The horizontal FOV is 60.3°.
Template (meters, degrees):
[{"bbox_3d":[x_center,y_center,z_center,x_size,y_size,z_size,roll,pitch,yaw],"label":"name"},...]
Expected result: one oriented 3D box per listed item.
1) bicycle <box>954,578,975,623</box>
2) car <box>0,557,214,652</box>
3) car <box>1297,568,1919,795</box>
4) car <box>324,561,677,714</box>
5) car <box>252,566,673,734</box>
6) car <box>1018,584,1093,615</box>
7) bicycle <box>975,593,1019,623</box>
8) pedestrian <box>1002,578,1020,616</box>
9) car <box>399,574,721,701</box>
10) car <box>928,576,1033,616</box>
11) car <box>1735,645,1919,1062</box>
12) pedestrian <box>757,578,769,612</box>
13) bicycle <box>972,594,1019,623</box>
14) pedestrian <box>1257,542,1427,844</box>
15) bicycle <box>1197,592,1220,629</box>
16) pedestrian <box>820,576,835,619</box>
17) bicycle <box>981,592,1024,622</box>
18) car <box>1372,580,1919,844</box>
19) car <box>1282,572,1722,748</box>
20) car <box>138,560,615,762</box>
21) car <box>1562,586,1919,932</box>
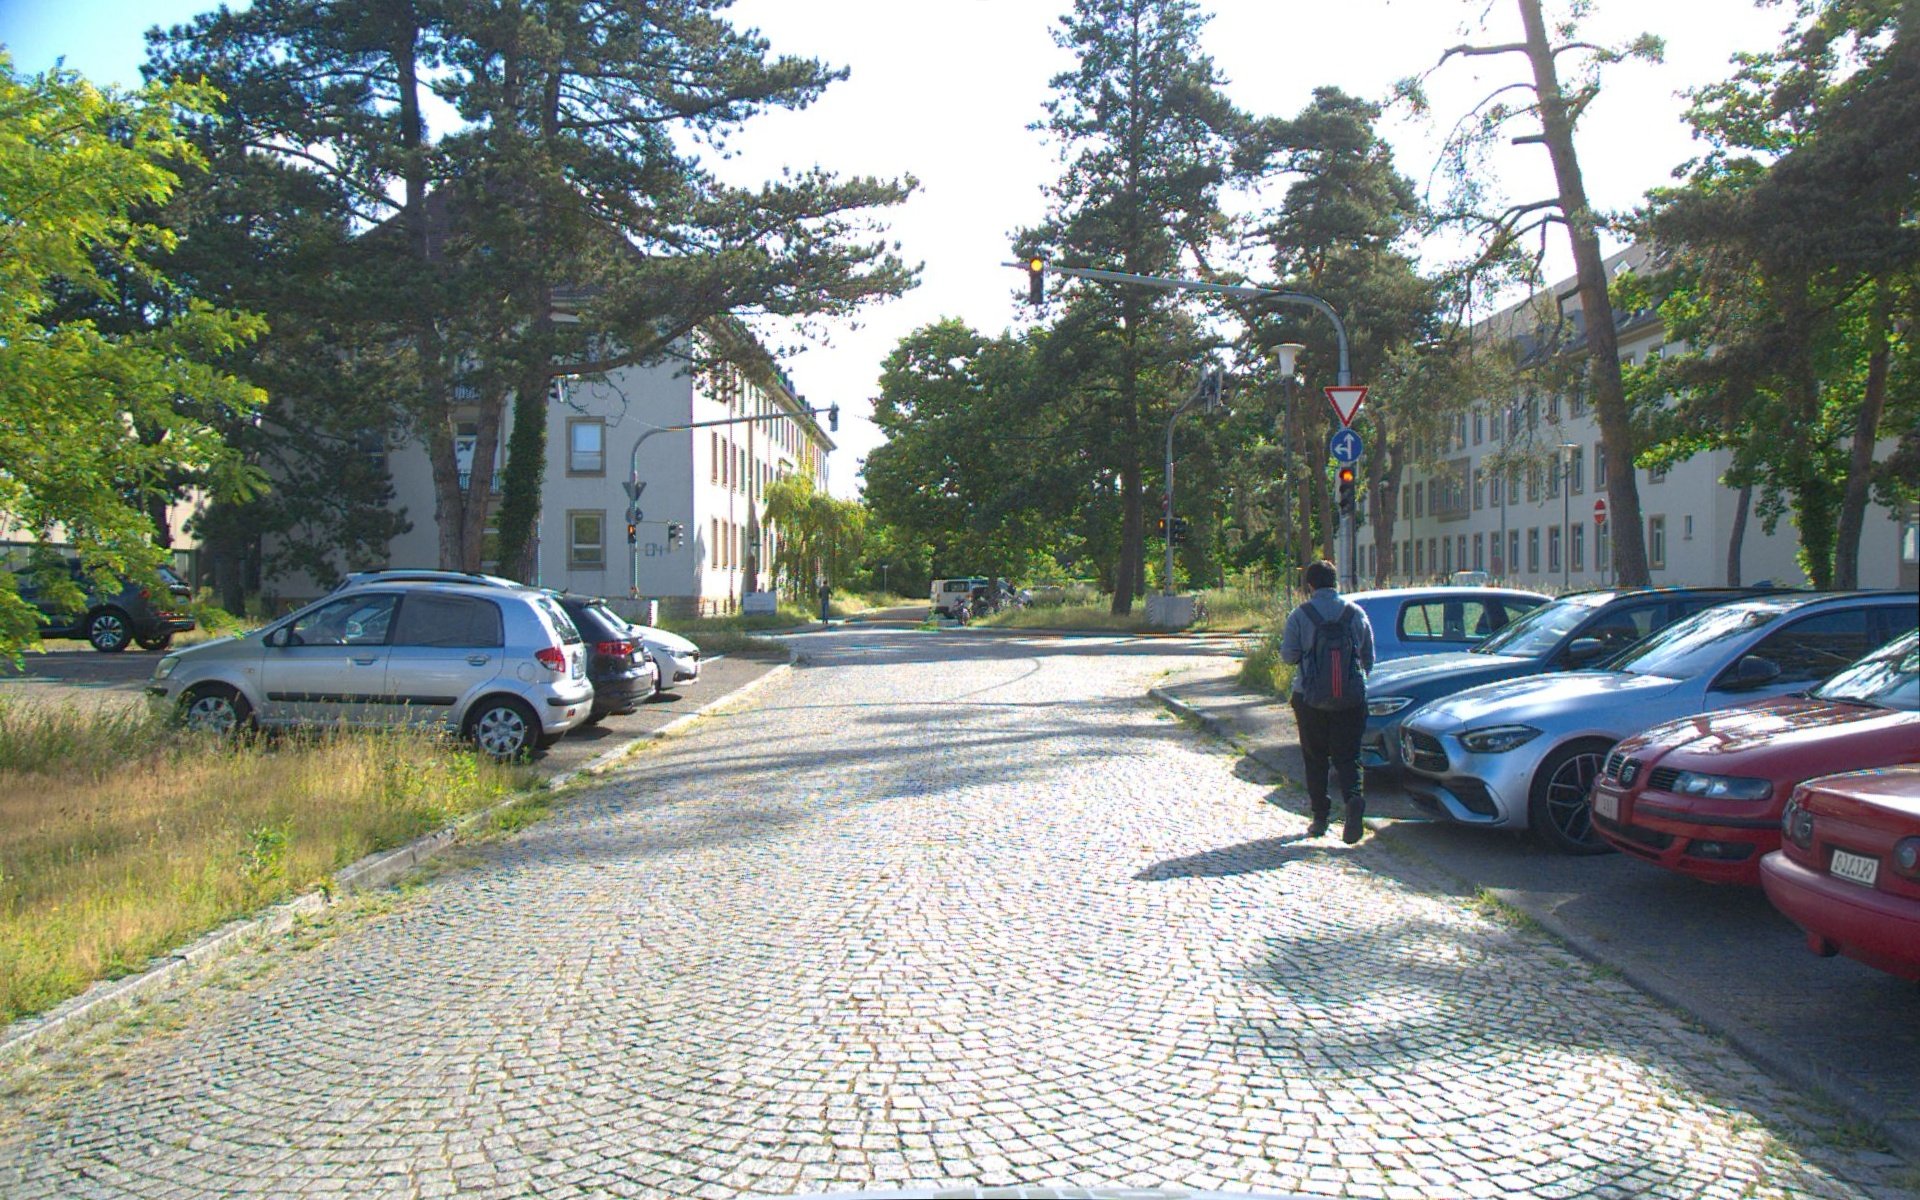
[{"bbox_3d":[0.167,0.011,61.133,0.738,1.608,2.536,0,0,-1],"label":"bicycle"},{"bbox_3d":[-16.035,0.071,29.996,4.058,1.636,2.010,0,0,1],"label":"car"},{"bbox_3d":[5.168,0.584,13.147,4.527,1.481,1.869,-2,1,-3],"label":"car"},{"bbox_3d":[-5.520,0.432,20.199,3.801,1.643,1.660,2,0,-2],"label":"car"},{"bbox_3d":[-5.125,0.498,17.432,3.858,1.470,1.690,3,0,-2],"label":"car"},{"bbox_3d":[4.997,-0.044,86.445,3.673,1.607,1.738,0,0,-8],"label":"car"},{"bbox_3d":[1.465,0.315,65.144,1.693,1.132,0.484,0,0,-4],"label":"bicycle"},{"bbox_3d":[2.485,-0.153,80.767,0.745,1.815,0.683,0,0,-8],"label":"pedestrian"},{"bbox_3d":[-5.441,0.478,22.813,3.903,1.522,1.774,2,1,4],"label":"car"},{"bbox_3d":[0.993,-0.210,82.482,4.974,1.951,1.996,0,0,-10],"label":"car"},{"bbox_3d":[4.713,0.816,5.689,3.389,1.264,1.536,0,0,0],"label":"car"},{"bbox_3d":[-9.350,-0.234,78.496,0.595,1.587,0.544,0,0,-7],"label":"pedestrian"},{"bbox_3d":[1.401,0.318,64.599,1.798,1.132,0.495,0,0,-4],"label":"bicycle"},{"bbox_3d":[2.362,0.555,10.320,0.738,1.755,0.828,5,0,-1],"label":"pedestrian"},{"bbox_3d":[7.928,0.312,52.743,0.706,1.134,2.586,0,0,9],"label":"bicycle"},{"bbox_3d":[-5.556,-0.103,69.320,0.594,1.783,0.630,0,0,-1],"label":"pedestrian"},{"bbox_3d":[1.694,0.273,65.827,1.693,1.185,0.560,0,0,-4],"label":"bicycle"},{"bbox_3d":[4.978,0.618,10.377,4.310,1.413,1.788,-1,0,-2],"label":"car"},{"bbox_3d":[5.032,0.529,15.678,3.598,1.468,1.665,-2,0,0],"label":"car"},{"bbox_3d":[-5.076,0.511,14.770,3.612,1.554,1.698,2,0,-3],"label":"car"},{"bbox_3d":[5.195,0.671,8.081,3.898,1.474,1.655,-1,0,-1],"label":"car"}]
